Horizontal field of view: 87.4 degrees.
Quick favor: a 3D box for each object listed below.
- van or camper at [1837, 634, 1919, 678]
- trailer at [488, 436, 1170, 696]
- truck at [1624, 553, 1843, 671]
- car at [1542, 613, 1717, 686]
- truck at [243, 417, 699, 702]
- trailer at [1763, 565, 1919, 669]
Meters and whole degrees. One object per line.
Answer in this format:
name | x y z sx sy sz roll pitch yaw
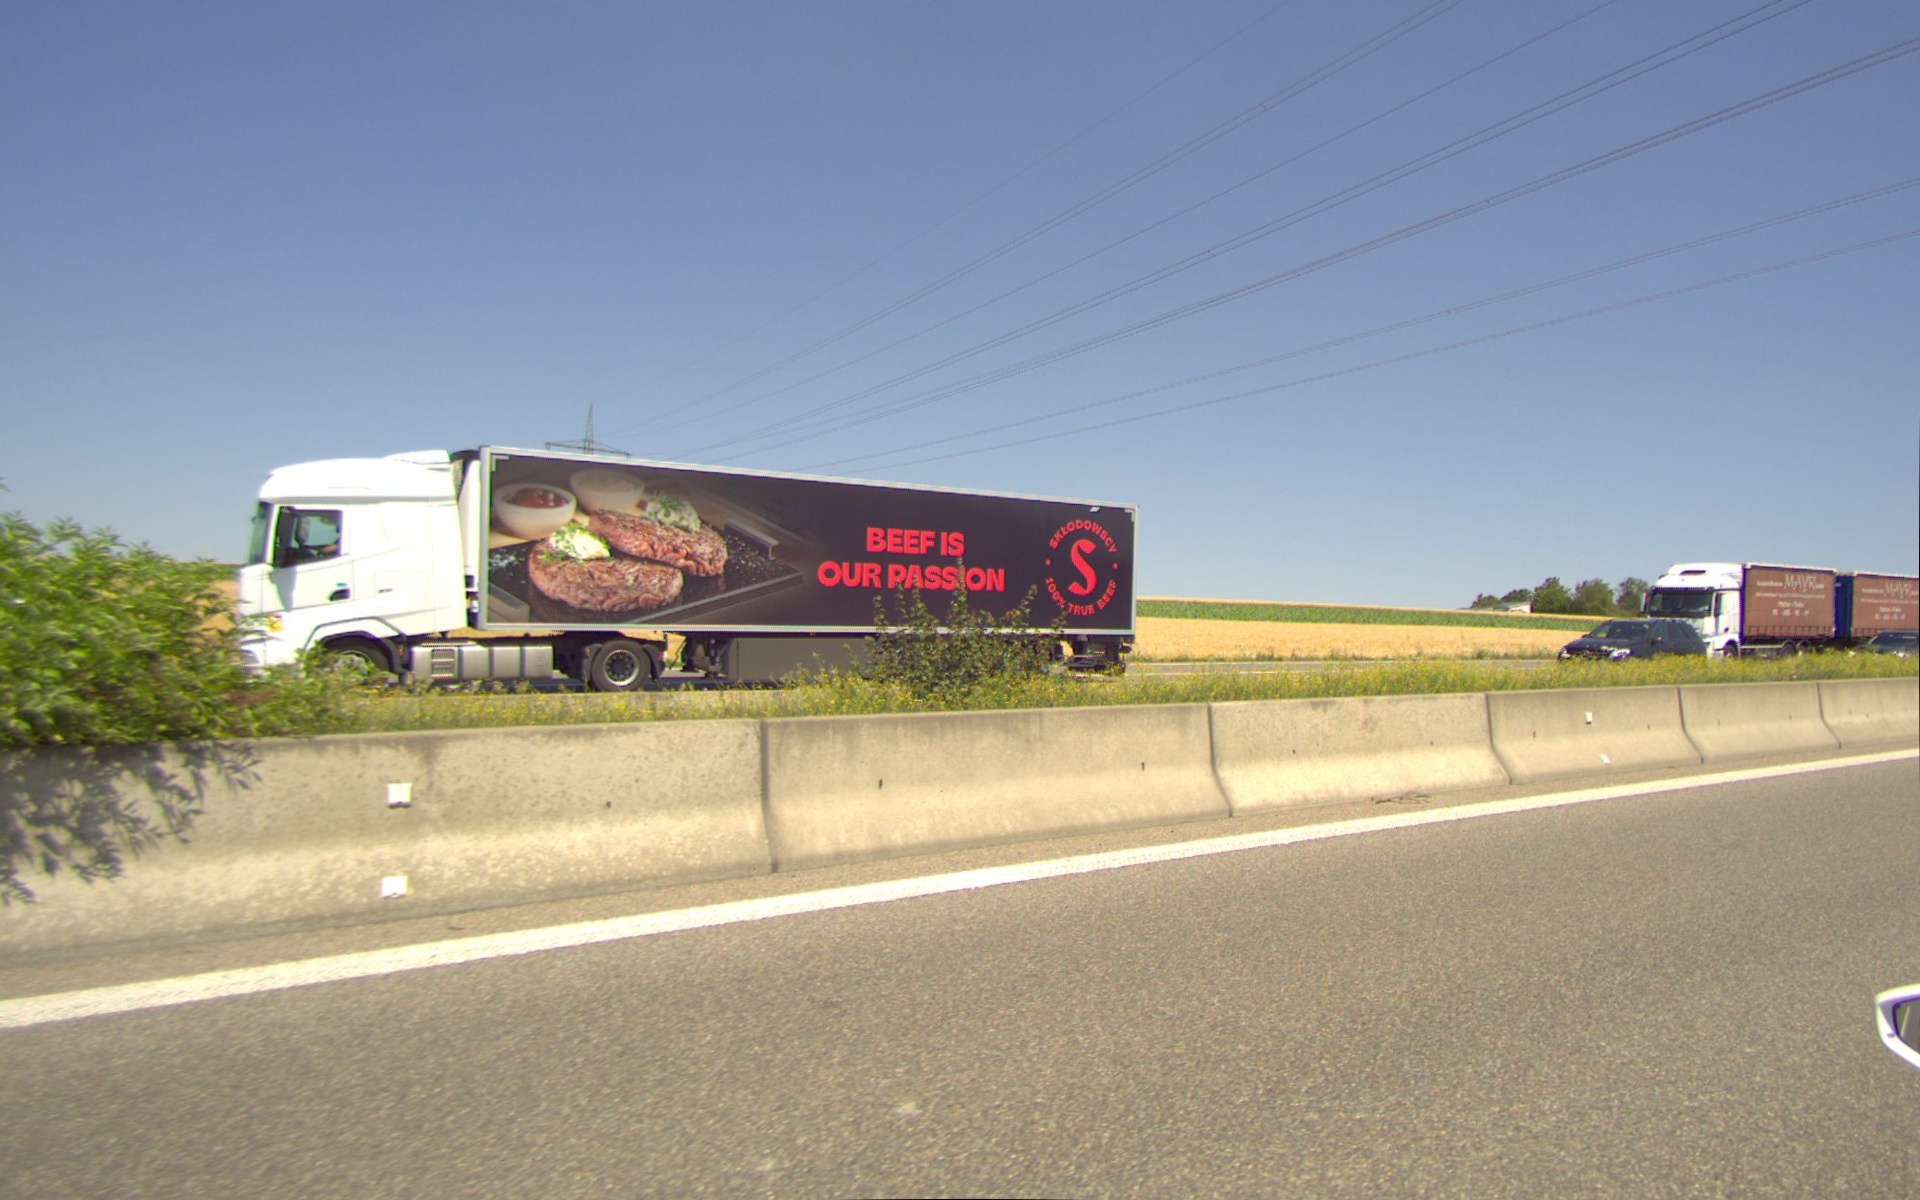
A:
van or camper | 33.846 2.002 36.381 3.953 1.472 1.984 1 0 -30
trailer | -1.957 -0.362 20.692 13.838 4.160 2.780 2 0 -30
truck | 30.751 0.549 39.739 10.492 4.227 2.875 2 0 -29
car | 18.616 1.322 27.869 5.152 1.816 1.984 1 0 -30
truck | -8.083 -0.507 17.220 6.436 4.081 2.840 2 0 -29
trailer | 39.397 0.772 44.409 9.065 4.239 2.764 1 0 -29
